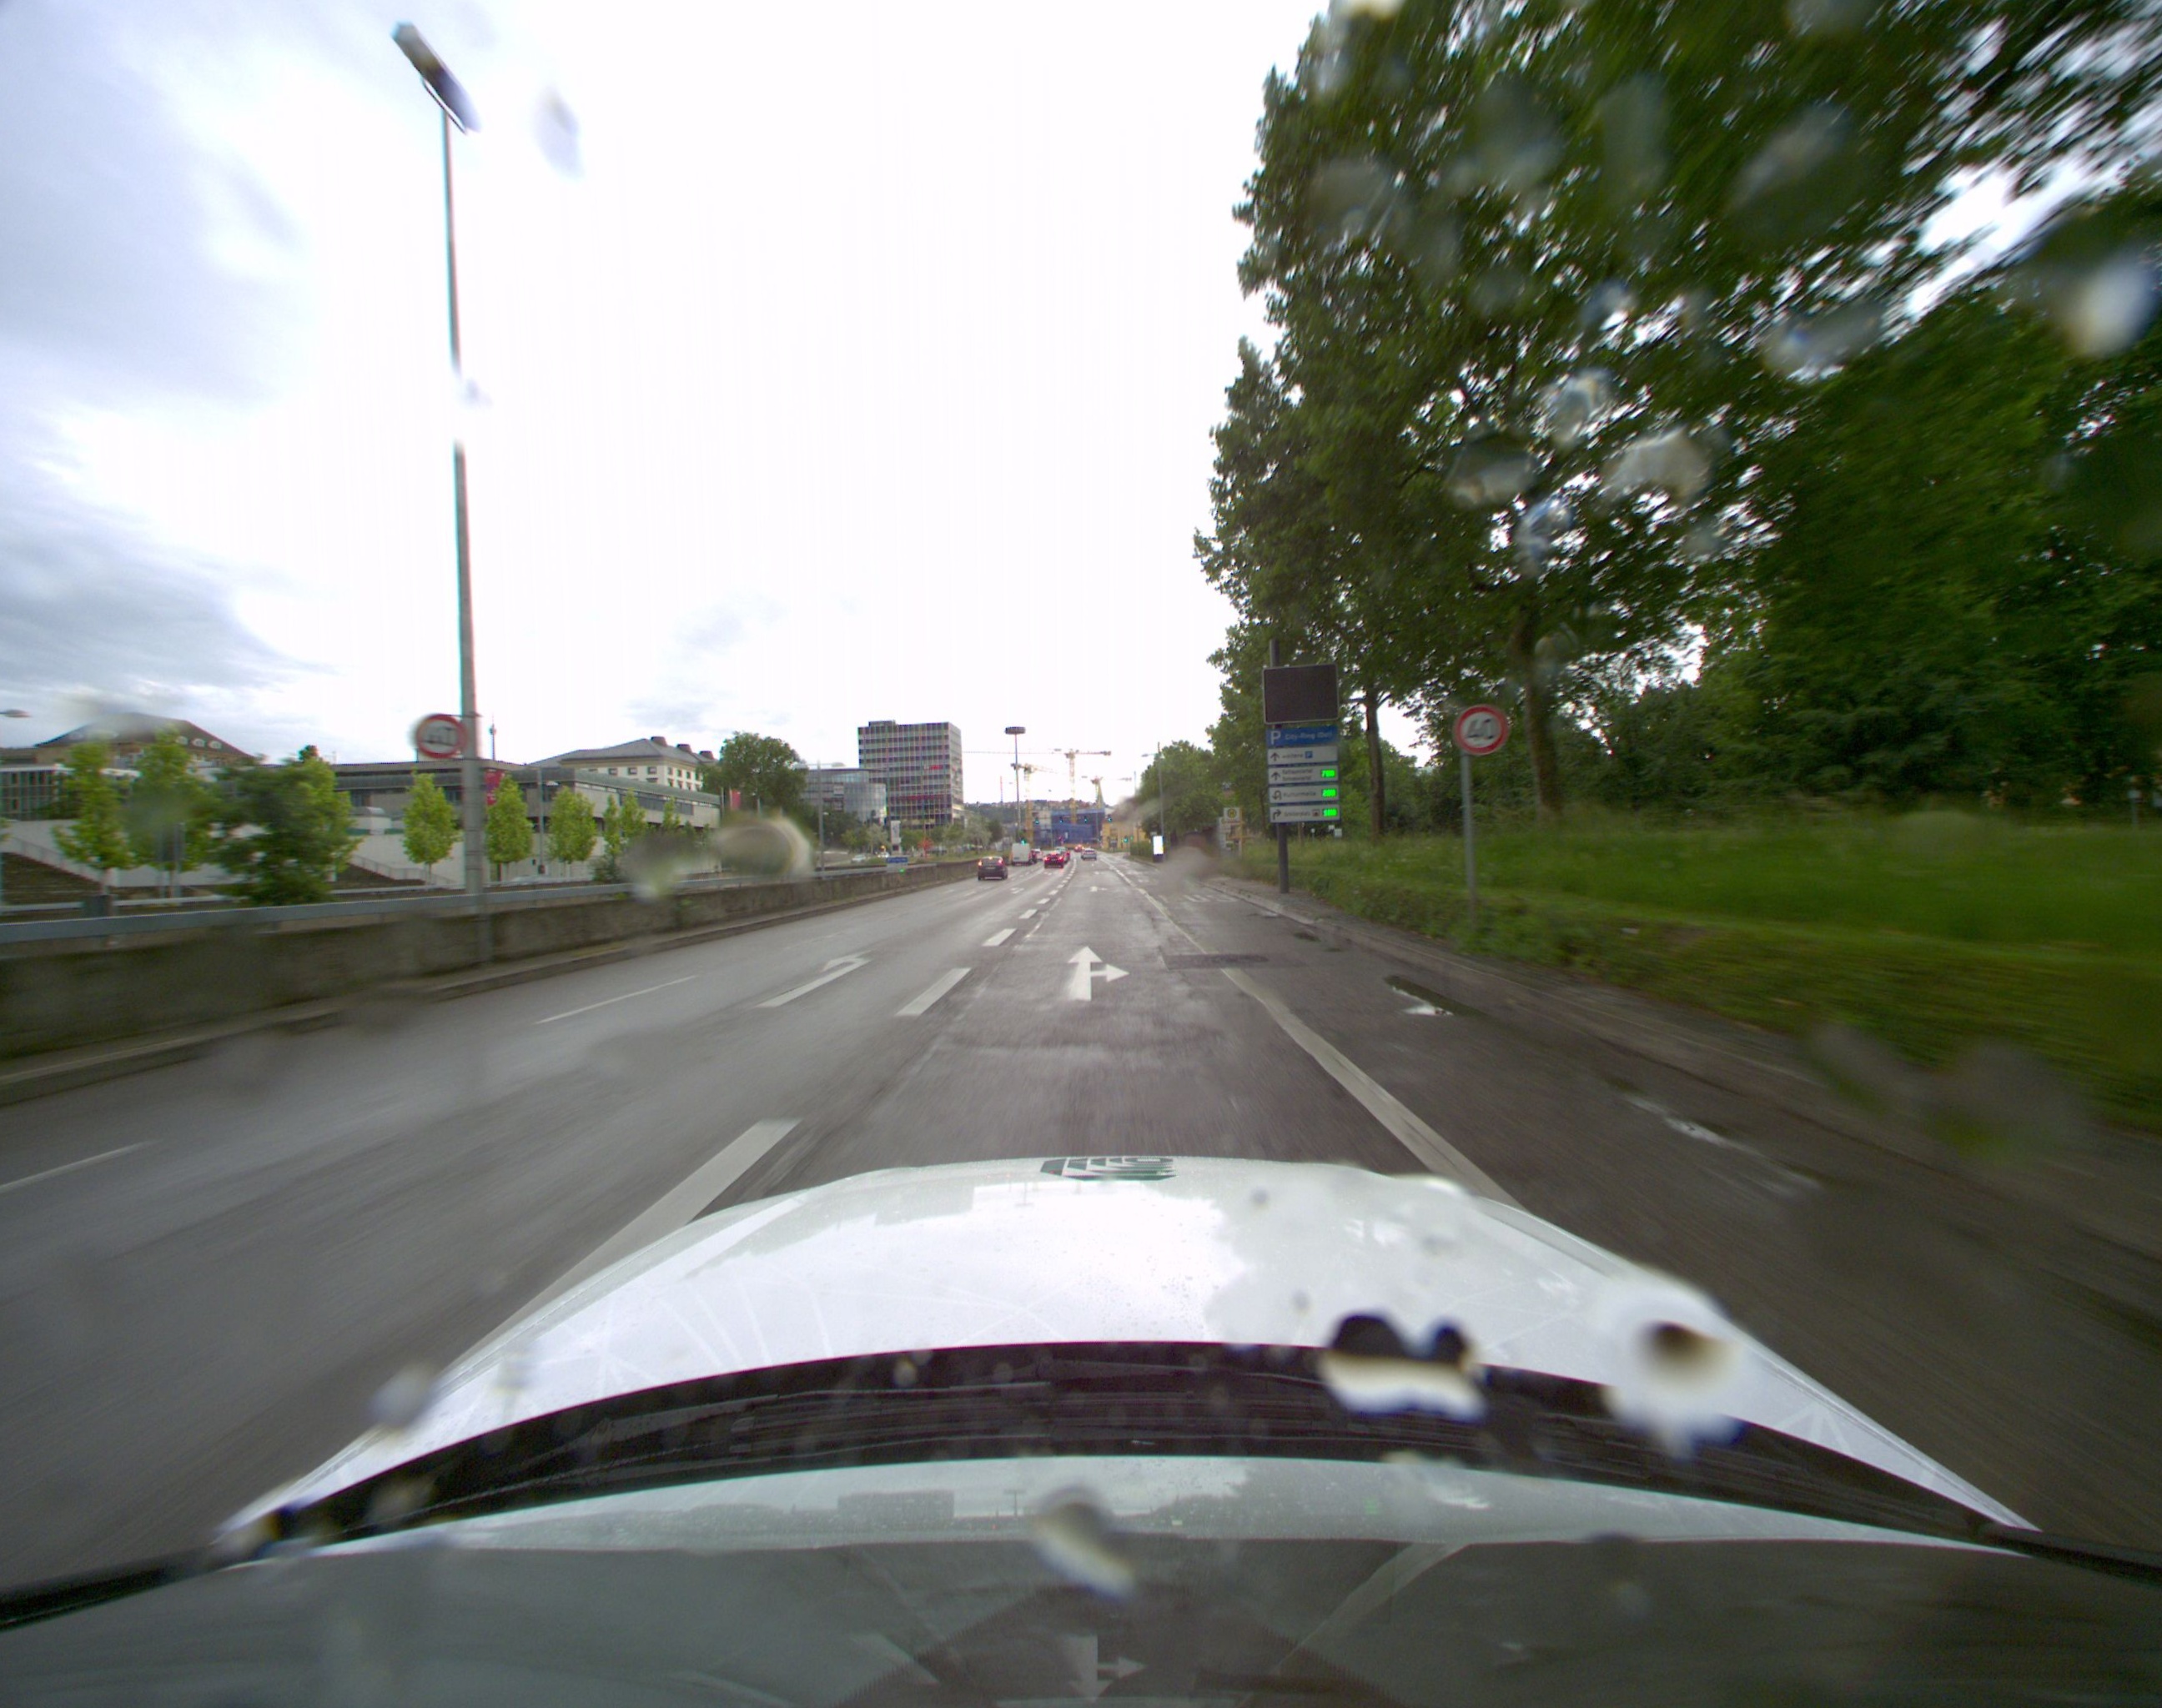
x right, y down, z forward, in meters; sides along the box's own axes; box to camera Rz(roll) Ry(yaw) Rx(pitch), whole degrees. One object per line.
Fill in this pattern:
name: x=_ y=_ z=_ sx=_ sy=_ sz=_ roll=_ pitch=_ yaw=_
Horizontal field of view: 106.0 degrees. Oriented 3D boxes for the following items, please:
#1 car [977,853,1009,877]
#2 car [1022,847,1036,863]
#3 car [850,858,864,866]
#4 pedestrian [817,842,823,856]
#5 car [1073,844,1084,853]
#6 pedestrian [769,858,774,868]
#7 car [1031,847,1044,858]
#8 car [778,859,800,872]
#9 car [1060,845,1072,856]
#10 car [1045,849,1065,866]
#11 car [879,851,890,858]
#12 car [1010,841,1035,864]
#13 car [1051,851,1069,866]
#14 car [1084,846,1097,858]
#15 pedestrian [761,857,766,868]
car: x=-5.469 y=0.711 z=50.982 sx=1.538 sy=1.415 sz=3.900 roll=-1 pitch=-1 yaw=-1
car: x=-5.966 y=0.110 z=92.897 sx=1.460 sy=1.706 sz=3.138 roll=-1 pitch=-1 yaw=-2
car: x=-36.845 y=1.390 z=133.973 sx=1.402 sy=1.255 sz=3.168 roll=-1 pitch=-1 yaw=3
pedestrian: x=-39.843 y=-0.810 z=124.287 sx=0.724 sy=2.090 sz=0.767 roll=-2 pitch=5 yaw=-12
car: x=-0.517 y=-1.094 z=171.529 sx=2.153 sy=1.879 sz=3.773 roll=-1 pitch=-1 yaw=3
pedestrian: x=-43.697 y=1.244 z=114.887 sx=0.490 sy=1.423 sz=0.633 roll=-1 pitch=-1 yaw=0
car: x=-5.588 y=-0.165 z=103.978 sx=1.546 sy=1.260 sz=2.579 roll=-1 pitch=-1 yaw=0
car: x=-33.660 y=1.337 z=93.961 sx=1.460 sy=1.440 sz=2.962 roll=-1 pitch=-1 yaw=0
car: x=-1.906 y=-0.433 z=106.256 sx=1.489 sy=1.369 sz=3.032 roll=-1 pitch=-1 yaw=-1
car: x=-2.411 y=0.308 z=76.546 sx=1.749 sy=1.471 sz=4.220 roll=-1 pitch=1 yaw=-1
car: x=-37.382 y=0.095 z=154.784 sx=1.436 sy=1.114 sz=3.019 roll=-1 pitch=-1 yaw=-1
car: x=-6.127 y=-0.081 z=85.976 sx=2.285 sy=2.314 sz=5.005 roll=-1 pitch=-1 yaw=0
car: x=-2.396 y=0.526 z=91.207 sx=1.876 sy=1.653 sz=3.454 roll=-1 pitch=-1 yaw=-3
car: x=1.221 y=-0.250 z=104.659 sx=1.438 sy=1.359 sz=2.414 roll=-1 pitch=-1 yaw=3
pedestrian: x=-41.648 y=1.116 z=106.815 sx=0.469 sy=1.383 sz=0.572 roll=0 pitch=-1 yaw=-27
